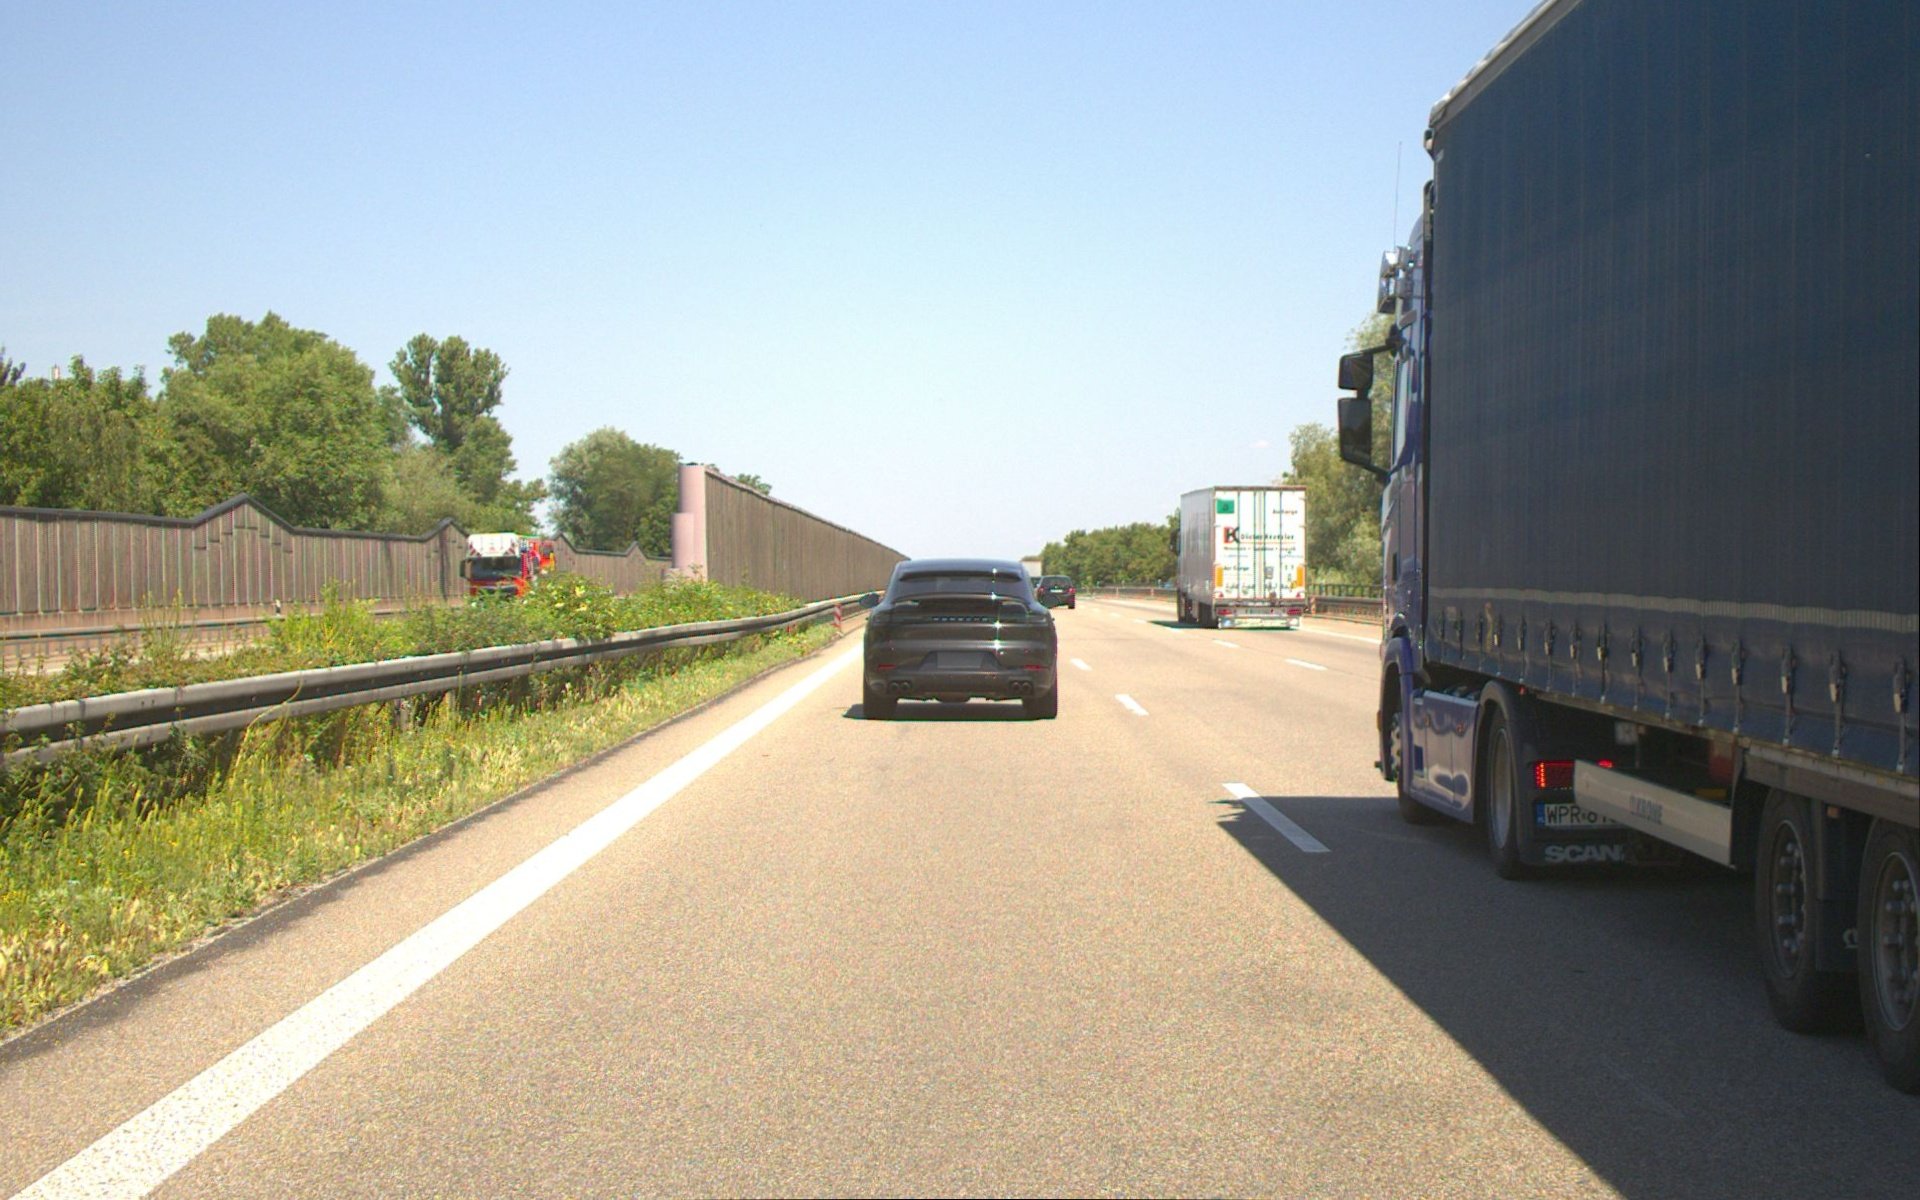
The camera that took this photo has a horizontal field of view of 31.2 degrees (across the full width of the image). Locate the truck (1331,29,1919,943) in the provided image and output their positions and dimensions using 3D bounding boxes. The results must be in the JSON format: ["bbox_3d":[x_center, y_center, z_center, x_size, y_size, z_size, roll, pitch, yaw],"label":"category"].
[{"bbox_3d":[3.848,-0.533,19.013,2.700,4.104,6.991,1,0,-1],"label":"truck"}]

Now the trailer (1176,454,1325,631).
[{"bbox_3d":[8.410,-1.631,101.242,3.269,4.821,14.029,1,0,1],"label":"trailer"}]

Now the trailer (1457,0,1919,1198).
[{"bbox_3d":[3.907,-0.474,11.403,2.700,4.104,12.132,1,0,0],"label":"trailer"}]

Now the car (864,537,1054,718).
[{"bbox_3d":[-0.054,0.250,36.150,1.880,1.786,4.000,0,1,-1],"label":"car"}]

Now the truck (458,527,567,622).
[{"bbox_3d":[-17.201,-0.996,132.837,2.699,3.480,10.854,1,0,0],"label":"truck"}]

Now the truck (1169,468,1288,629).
[{"bbox_3d":[8.407,-1.603,108.413,3.234,4.872,6.972,1,0,1],"label":"truck"}]

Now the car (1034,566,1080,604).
[{"bbox_3d":[4.230,-0.656,150.420,1.903,1.578,4.304,-1,-1,0],"label":"car"}]
